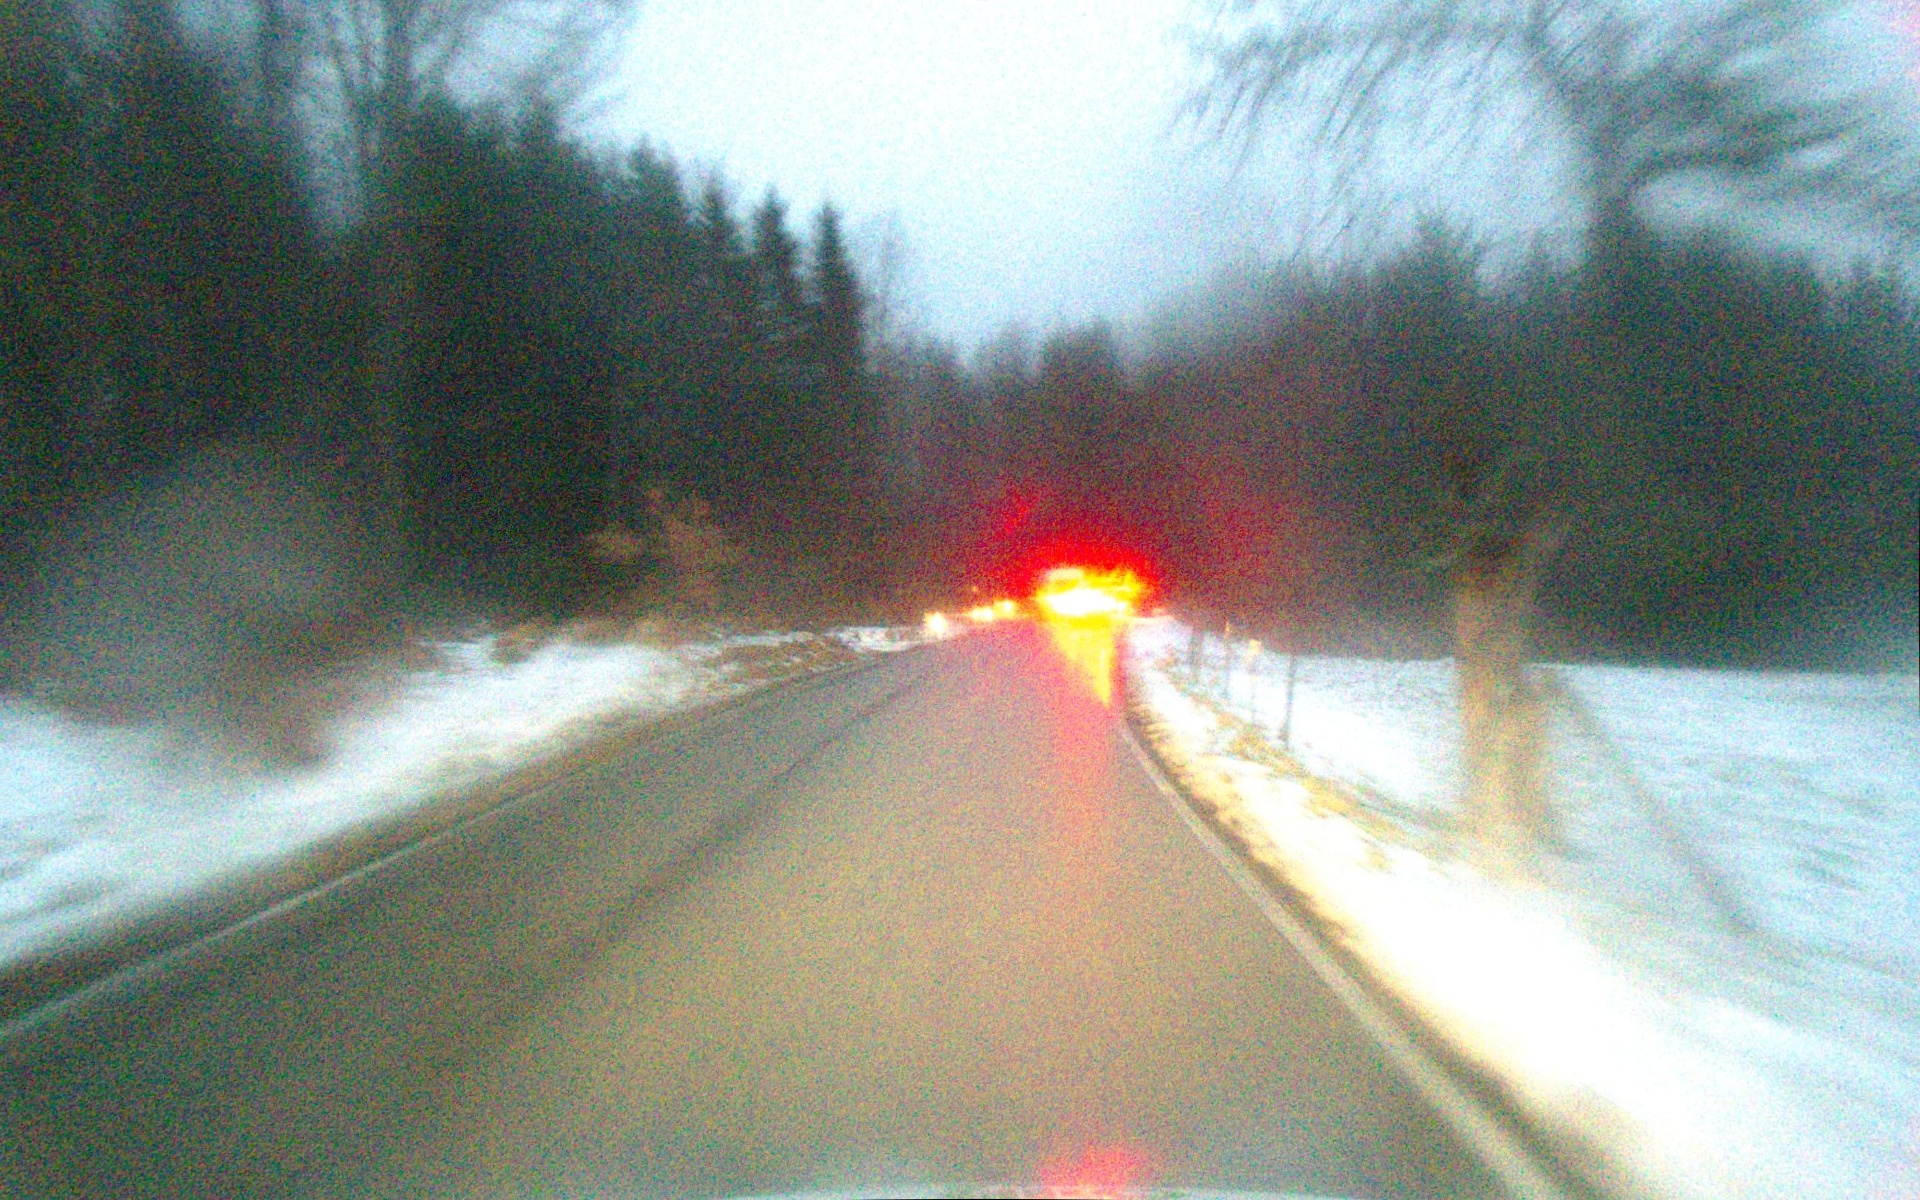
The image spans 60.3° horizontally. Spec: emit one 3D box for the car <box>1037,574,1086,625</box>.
[{"bbox_3d":[5.474,-0.013,89.562,2.206,2.692,5.005,0,0,-1],"label":"car"}]

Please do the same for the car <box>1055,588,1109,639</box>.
[{"bbox_3d":[5.205,0.546,71.030,1.953,2.087,4.000,2,0,0],"label":"car"}]
